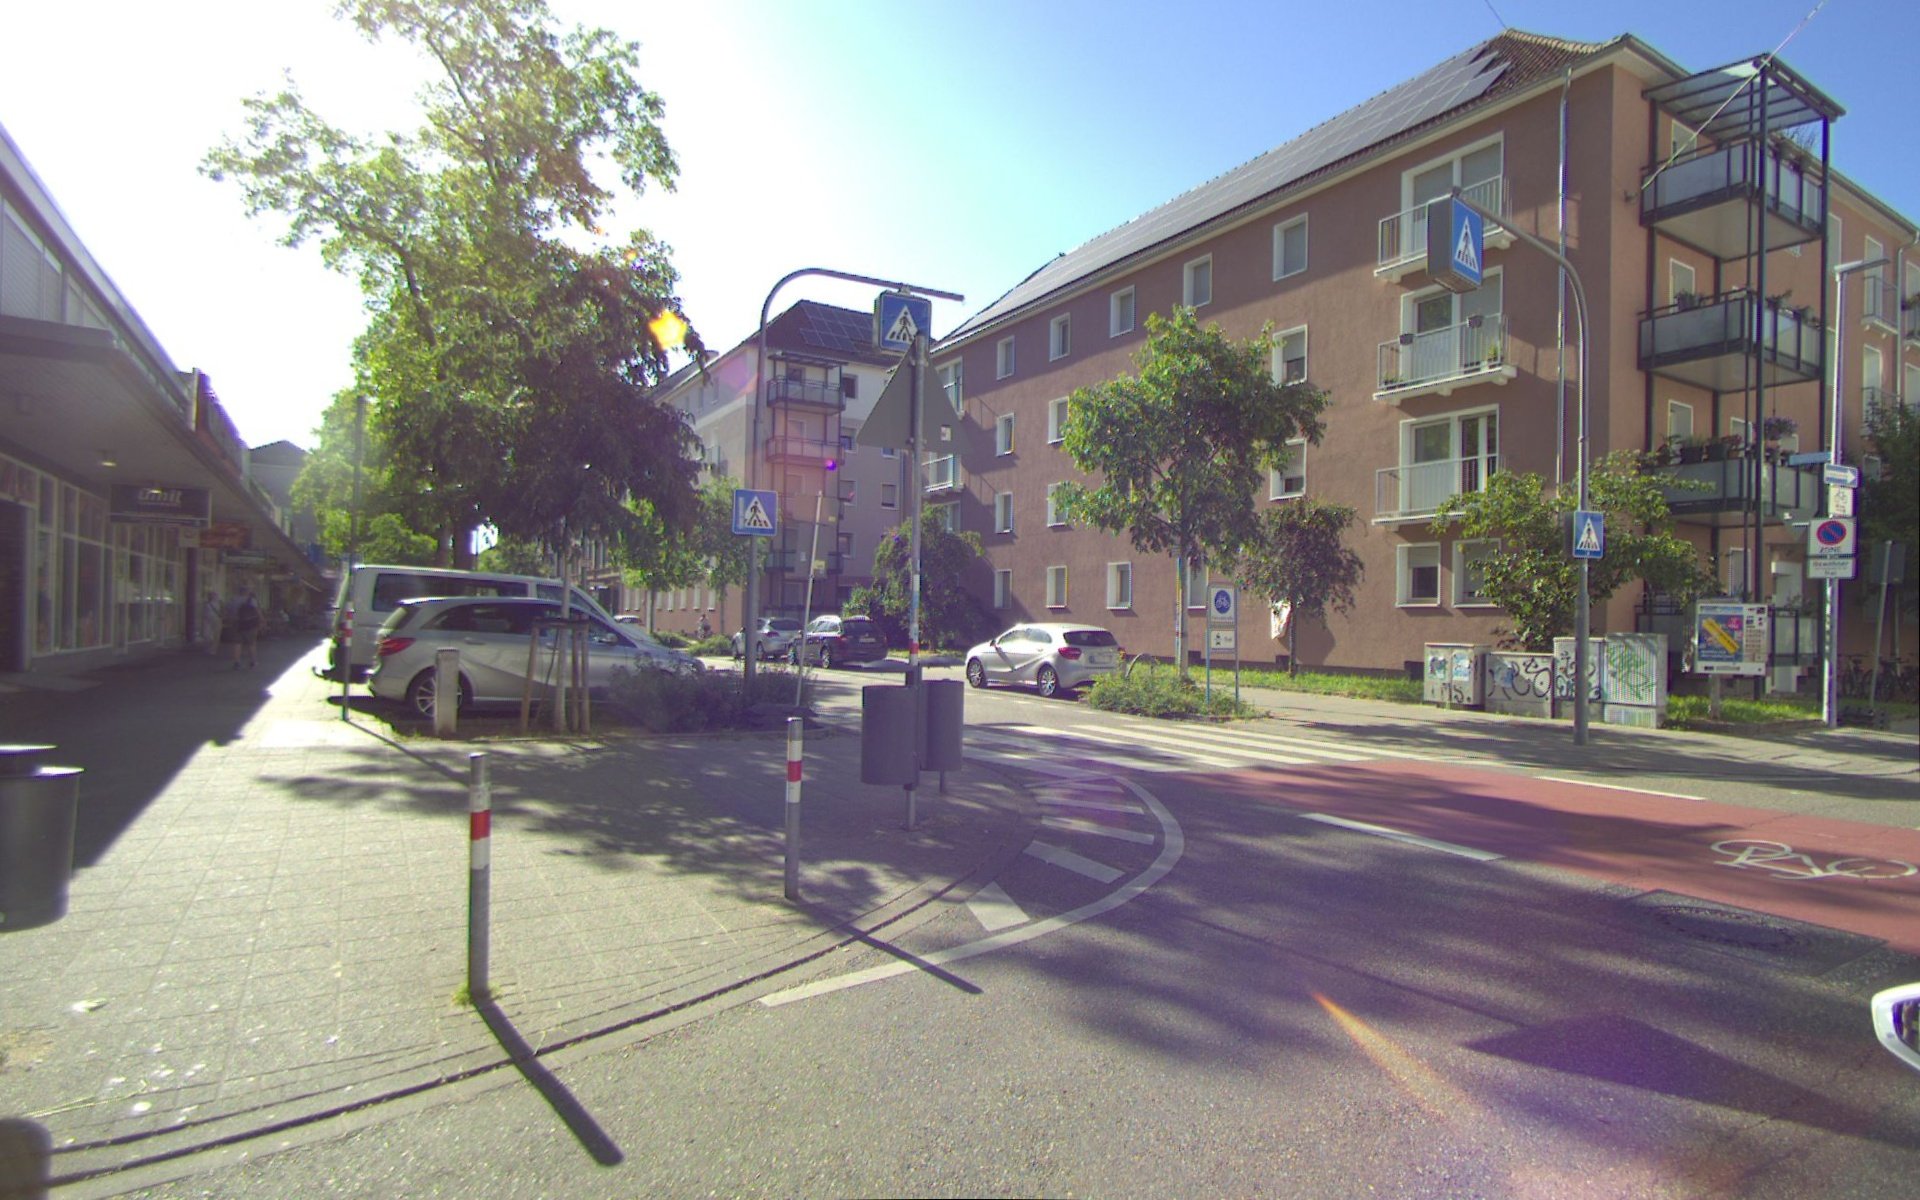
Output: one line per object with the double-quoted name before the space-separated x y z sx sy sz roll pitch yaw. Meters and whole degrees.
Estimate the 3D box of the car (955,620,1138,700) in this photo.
"car" 1.702 1.195 21.109 1.726 1.473 4.120 2 -1 -31

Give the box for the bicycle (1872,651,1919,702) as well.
"bicycle" 21.437 1.733 22.935 0.248 1.086 1.217 1 -1 8

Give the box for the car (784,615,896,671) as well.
"car" -3.654 1.225 29.967 1.768 1.539 4.274 2 -1 -30

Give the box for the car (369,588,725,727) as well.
"car" -5.578 0.742 13.748 4.257 1.634 1.743 2 -1 -33

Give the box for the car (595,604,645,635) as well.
"car" -17.749 1.011 52.395 1.725 1.539 3.827 2 -1 -30

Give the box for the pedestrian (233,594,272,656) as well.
"pedestrian" -18.132 0.639 25.748 0.681 1.542 0.528 3 -2 -30

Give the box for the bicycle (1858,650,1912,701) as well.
"bicycle" 21.156 1.717 22.992 0.248 1.085 1.217 1 -1 8

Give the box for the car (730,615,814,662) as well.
"car" -6.649 1.332 35.268 1.725 1.539 3.827 2 -1 -30

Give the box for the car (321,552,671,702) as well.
"car" -7.199 0.498 15.786 4.696 2.032 1.942 4 -2 -34

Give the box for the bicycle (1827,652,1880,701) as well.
"bicycle" 20.507 1.735 23.078 0.285 1.049 1.217 1 -1 8

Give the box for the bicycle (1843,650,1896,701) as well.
"bicycle" 20.851 1.717 23.034 0.261 1.086 1.217 1 -1 8

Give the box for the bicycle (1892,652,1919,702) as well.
"bicycle" 21.685 1.740 22.715 0.248 1.086 1.220 1 -1 8

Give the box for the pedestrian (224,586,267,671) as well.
"pedestrian" -14.461 0.573 20.346 0.560 1.688 0.707 3 -2 -29
